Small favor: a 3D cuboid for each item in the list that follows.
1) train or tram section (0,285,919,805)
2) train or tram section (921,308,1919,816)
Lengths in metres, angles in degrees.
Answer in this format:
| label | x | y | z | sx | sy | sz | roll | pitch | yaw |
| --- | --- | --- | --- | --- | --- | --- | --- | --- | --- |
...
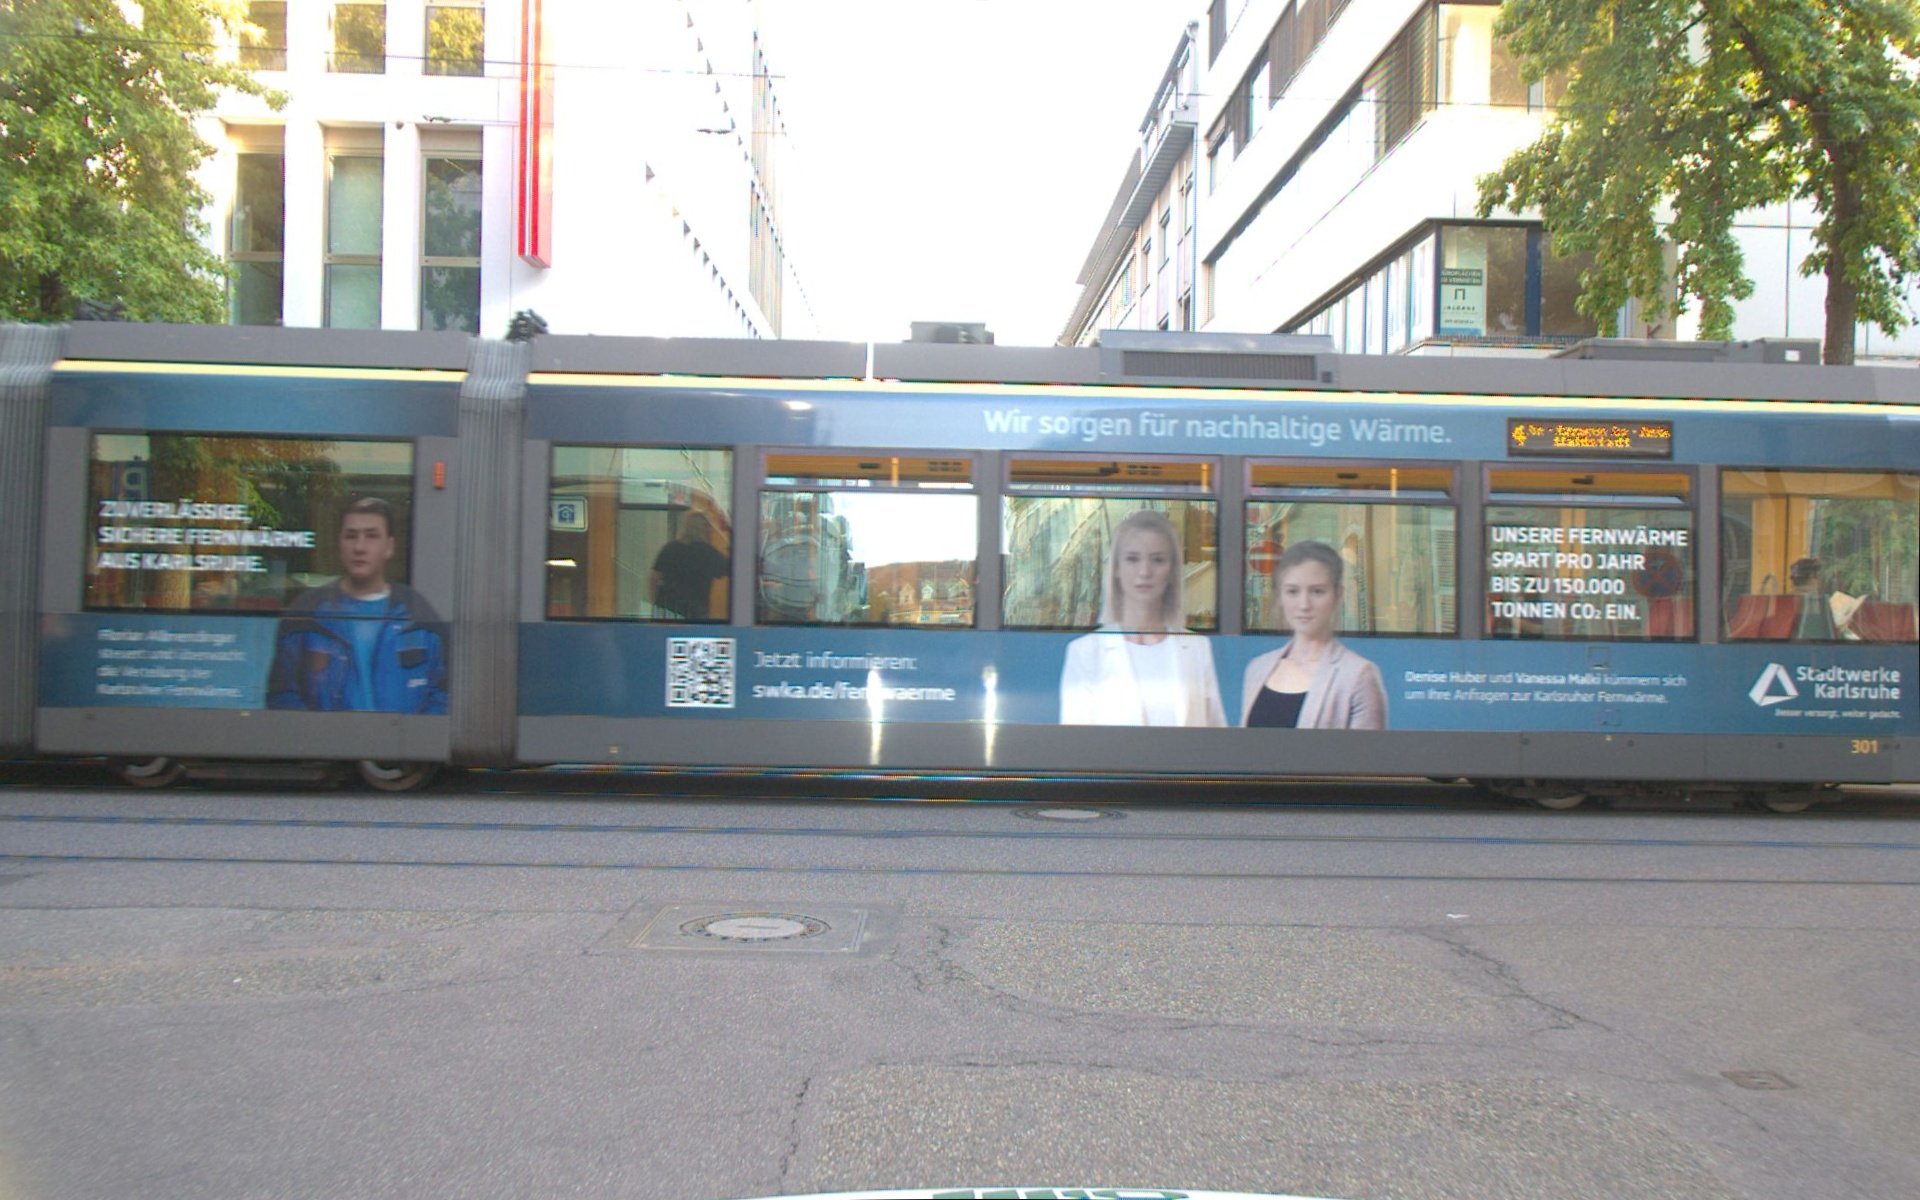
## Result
| label | x | y | z | sx | sy | sz | roll | pitch | yaw |
| --- | --- | --- | --- | --- | --- | --- | --- | --- | --- |
| train or tram section | -5.430 | -0.374 | 13.071 | 10.158 | 3.585 | 3.016 | 1 | -1 | -2 |
| train or tram section | 4.762 | -0.242 | 13.395 | 10.127 | 3.585 | 3.025 | 0 | 0 | -2 |
